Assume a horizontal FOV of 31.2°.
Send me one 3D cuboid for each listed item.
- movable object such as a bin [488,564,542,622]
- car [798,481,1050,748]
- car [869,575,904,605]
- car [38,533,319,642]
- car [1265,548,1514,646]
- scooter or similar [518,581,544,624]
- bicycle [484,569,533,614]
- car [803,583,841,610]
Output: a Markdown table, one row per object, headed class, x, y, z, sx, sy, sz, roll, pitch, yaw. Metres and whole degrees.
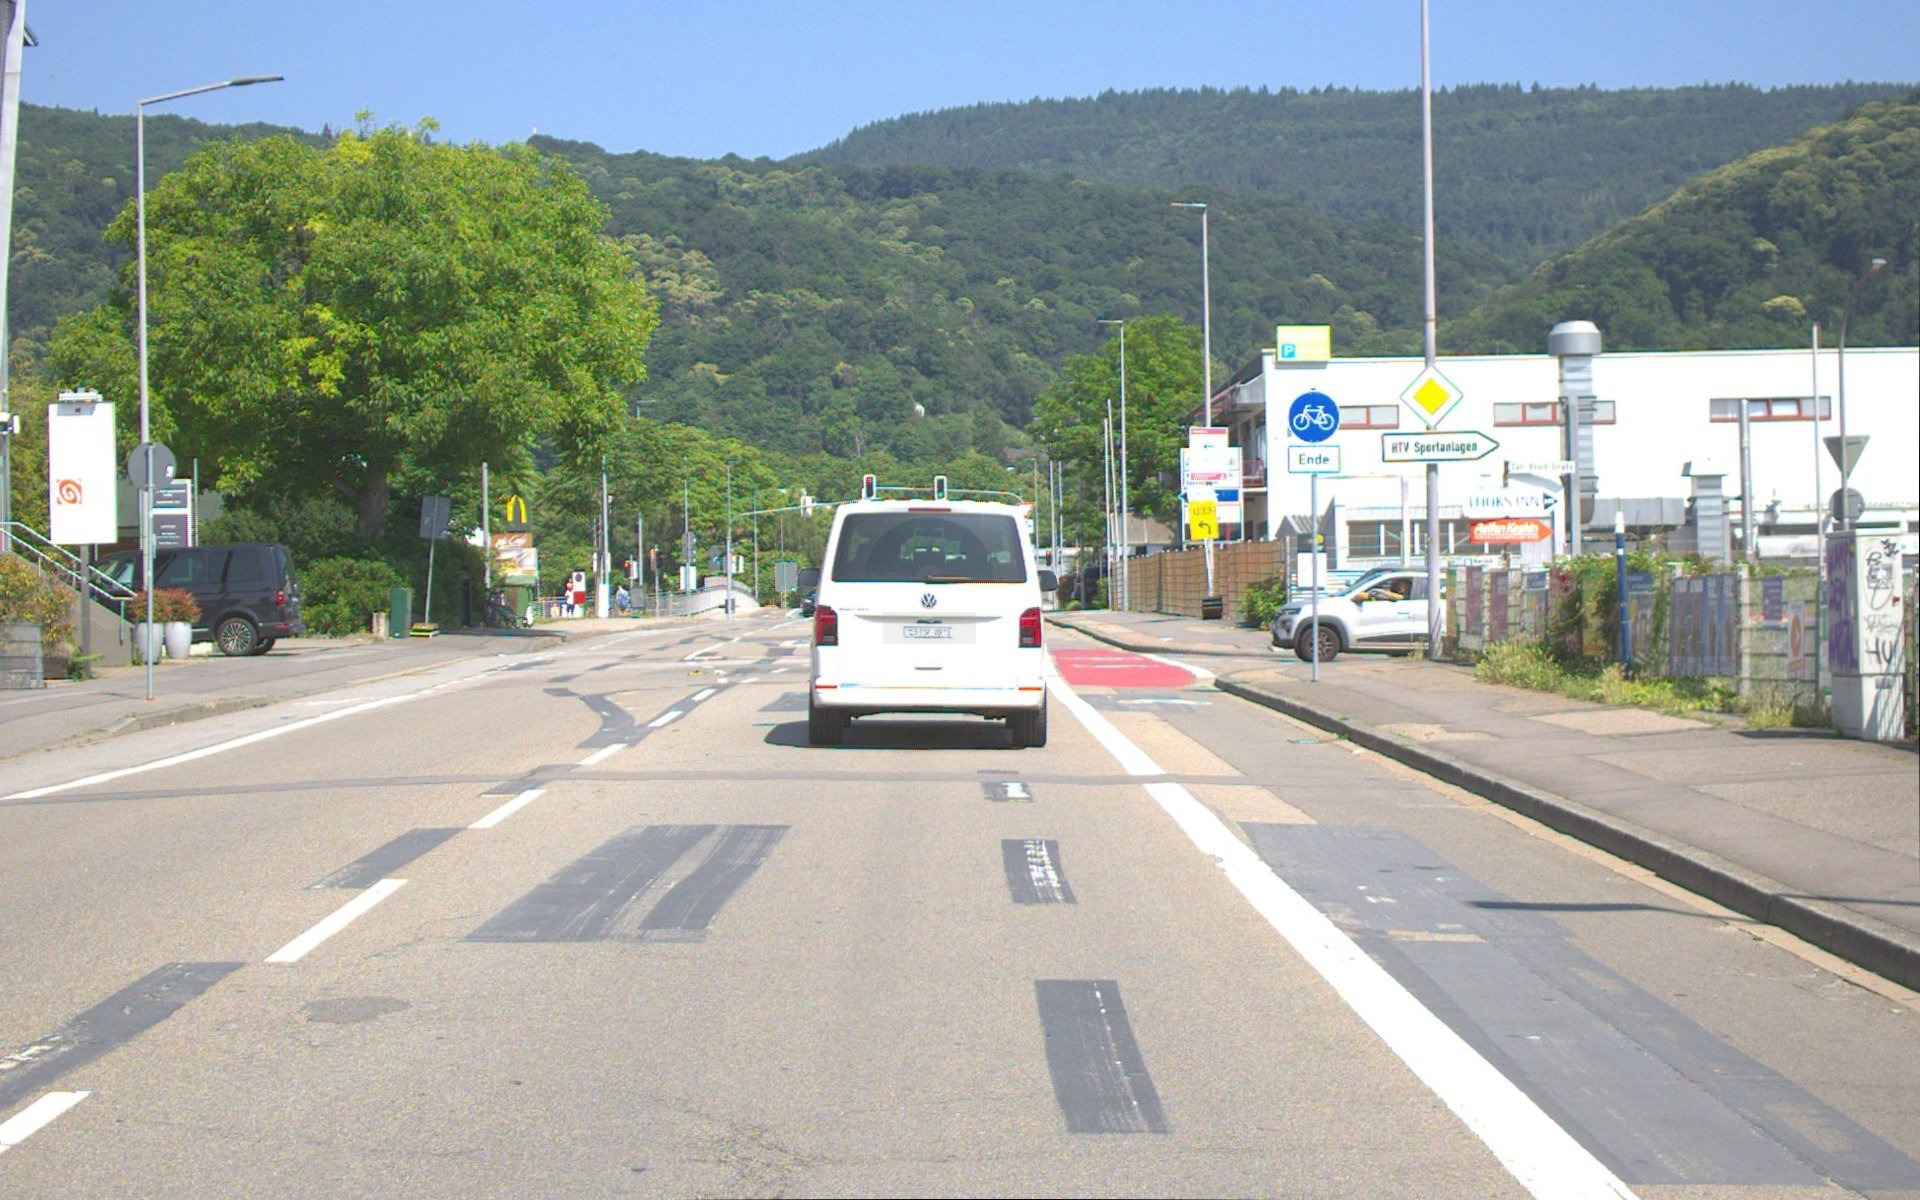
| class | x | y | z | sx | sy | sz | roll | pitch | yaw |
| --- | --- | --- | --- | --- | --- | --- | --- | --- | --- |
| movable object such as a bin | -12.687 | -0.204 | 97.939 | 1.447 | 1.585 | 1.307 | -2 | 1 | -9 |
| car | -0.363 | 0.094 | 28.762 | 1.934 | 2.052 | 4.545 | 0 | 0 | -2 |
| car | -4.037 | -0.577 | 189.711 | 1.849 | 1.583 | 4.000 | -1 | 0 | 0 |
| car | -13.691 | -0.227 | 60.451 | 4.565 | 1.859 | 2.093 | 0 | 0 | -5 |
| car | 6.585 | -0.058 | 52.946 | 3.665 | 1.479 | 1.728 | 0 | 1 | 2 |
| scooter or similar | -11.496 | 0.071 | 92.186 | 0.646 | 1.124 | 1.623 | 2 | 0 | -7 |
| bicycle | -11.612 | -0.231 | 88.473 | 1.026 | 1.114 | 2.766 | 2 | 0 | -3 |
| car | -7.407 | -0.204 | 184.907 | 1.993 | 1.365 | 4.327 | -1 | 0 | -2 |
